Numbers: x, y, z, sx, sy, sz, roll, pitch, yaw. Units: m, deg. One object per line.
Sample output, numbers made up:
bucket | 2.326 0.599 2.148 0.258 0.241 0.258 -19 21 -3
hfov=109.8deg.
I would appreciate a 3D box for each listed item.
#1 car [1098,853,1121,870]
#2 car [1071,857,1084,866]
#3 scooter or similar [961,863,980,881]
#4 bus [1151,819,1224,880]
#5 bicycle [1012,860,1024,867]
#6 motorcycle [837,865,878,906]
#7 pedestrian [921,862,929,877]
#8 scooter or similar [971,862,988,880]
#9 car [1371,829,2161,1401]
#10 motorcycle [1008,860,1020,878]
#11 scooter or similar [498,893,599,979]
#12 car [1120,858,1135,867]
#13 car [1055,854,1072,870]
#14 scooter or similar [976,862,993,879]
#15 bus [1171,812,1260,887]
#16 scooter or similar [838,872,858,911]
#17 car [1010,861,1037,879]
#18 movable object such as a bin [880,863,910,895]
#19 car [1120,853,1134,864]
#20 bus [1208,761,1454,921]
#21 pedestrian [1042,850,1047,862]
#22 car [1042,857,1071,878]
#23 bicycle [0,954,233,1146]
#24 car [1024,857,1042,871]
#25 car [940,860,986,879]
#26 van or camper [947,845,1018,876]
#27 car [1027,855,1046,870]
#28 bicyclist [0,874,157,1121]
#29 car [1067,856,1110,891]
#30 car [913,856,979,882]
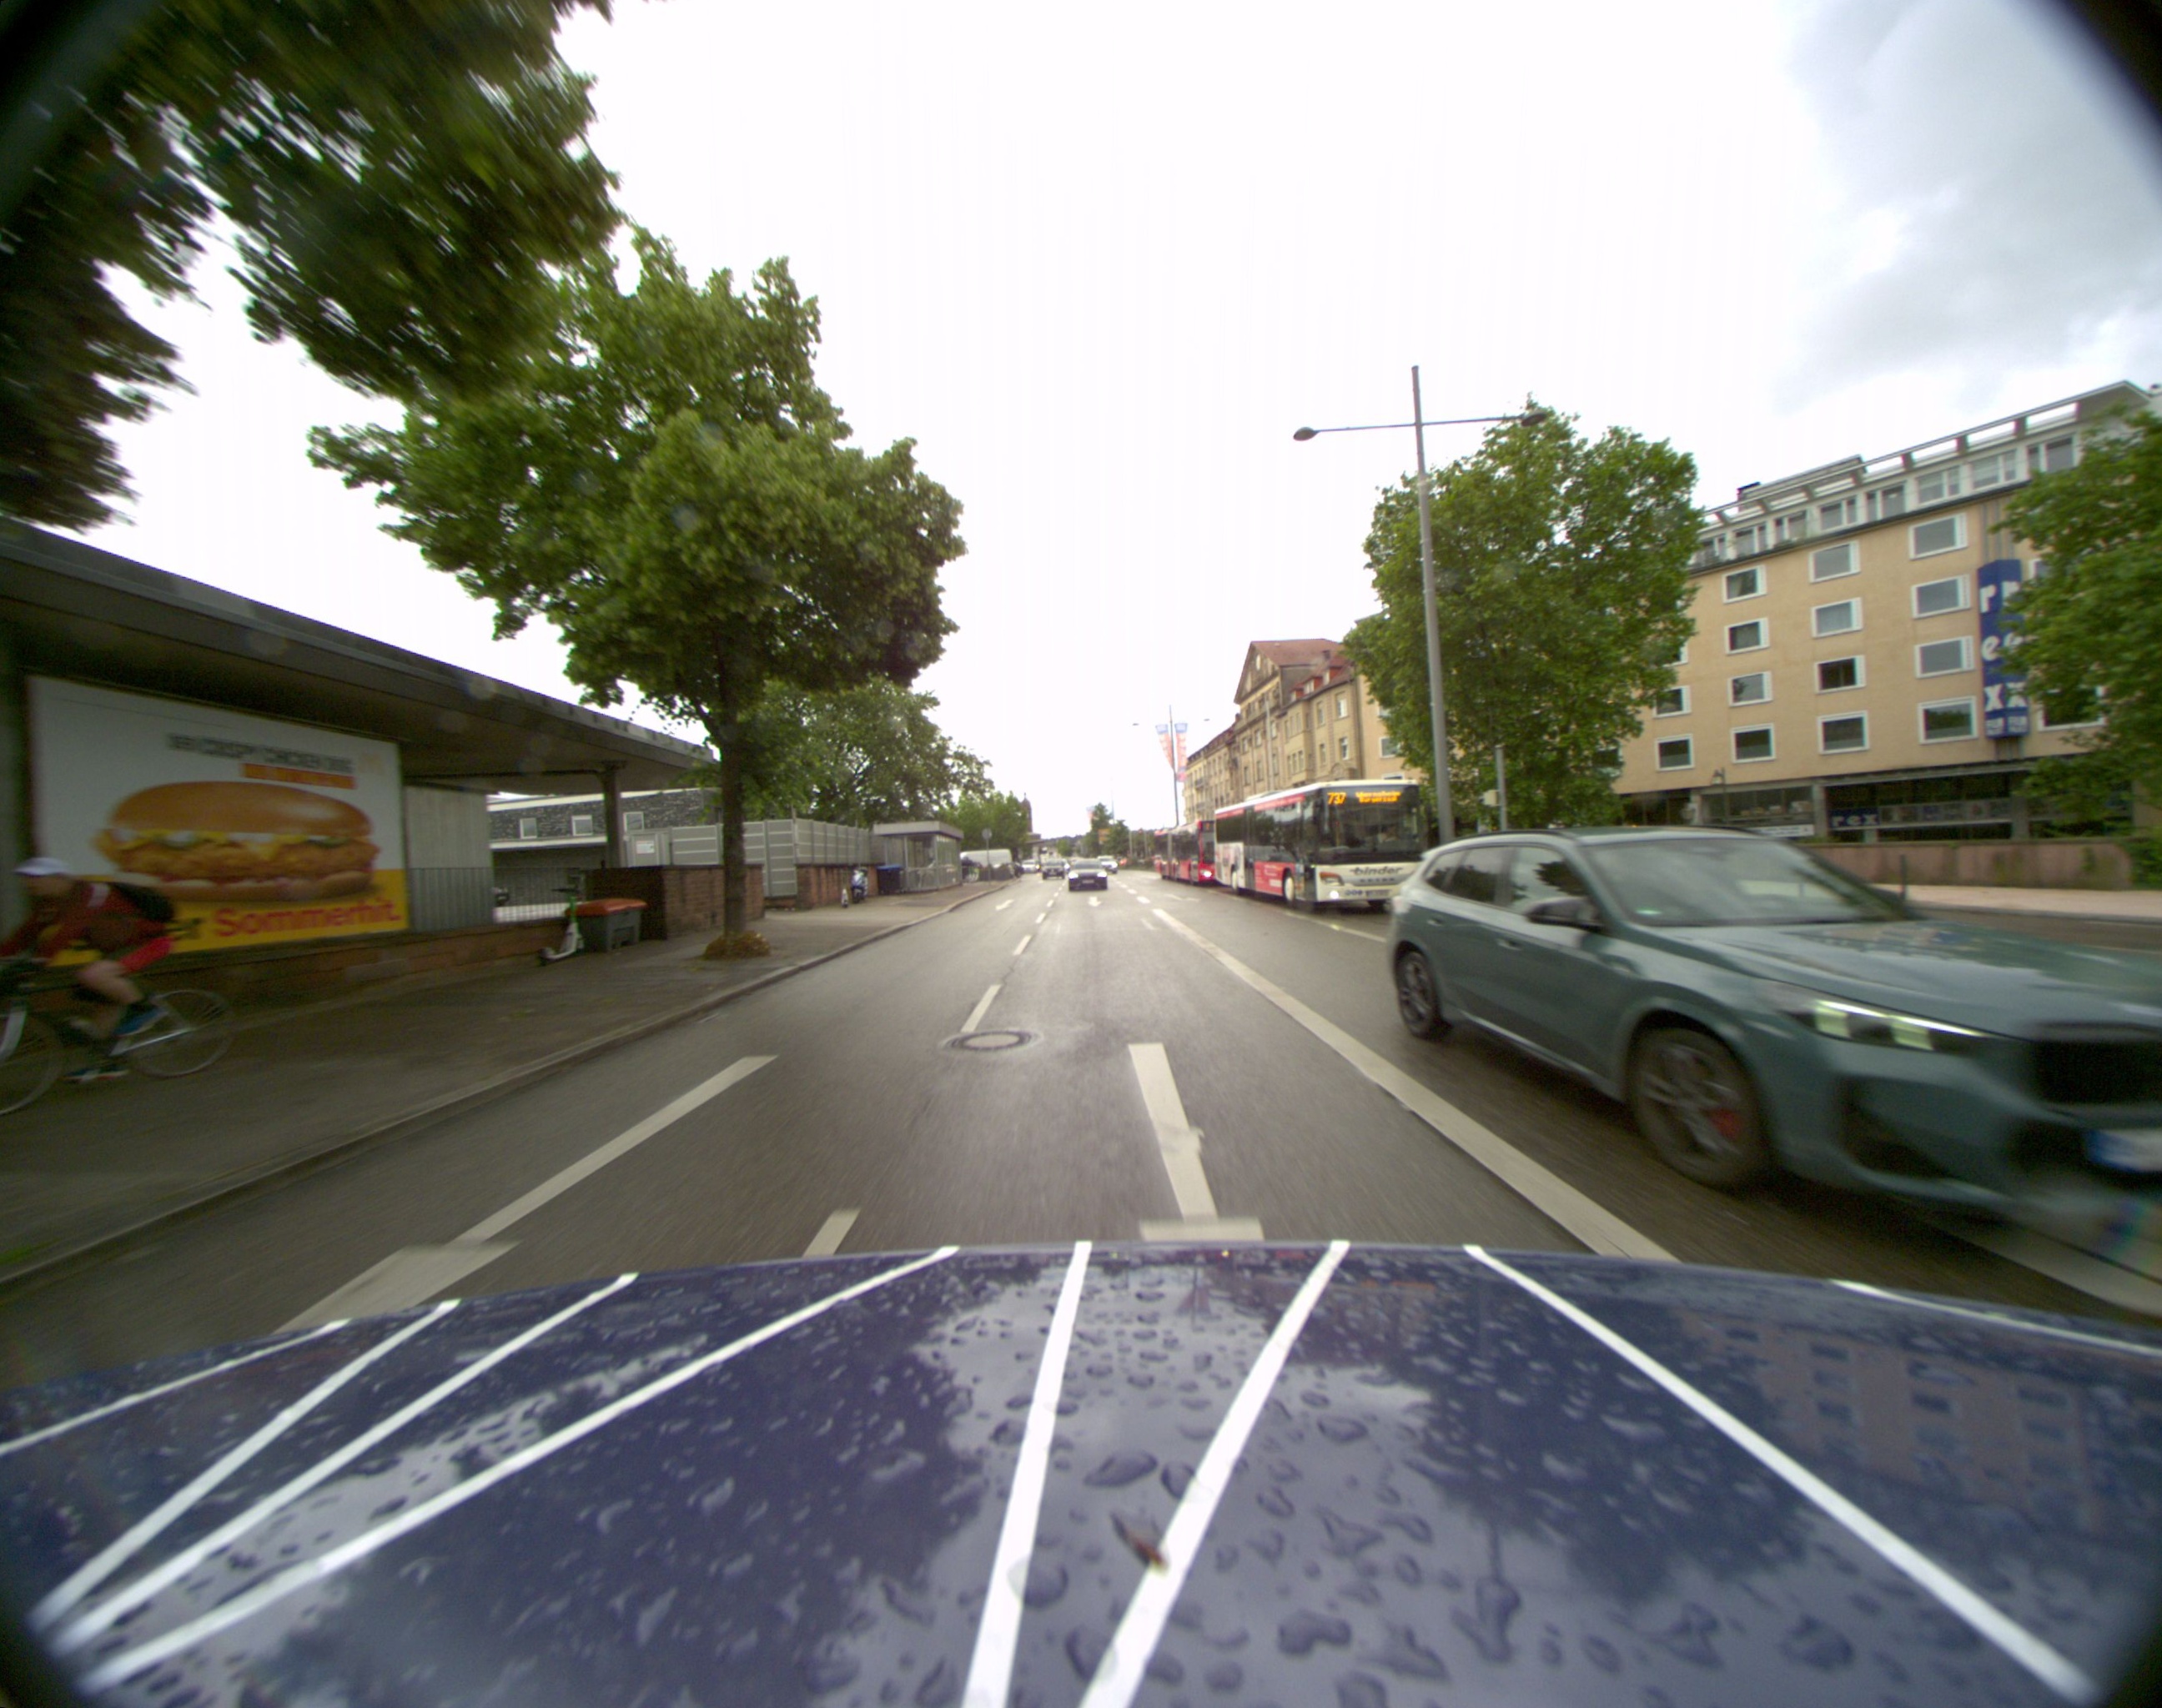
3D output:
car | 2.539 0.700 69.438 1.983 1.438 3.908 -1 0 1
car | -0.641 1.174 126.137 1.984 1.438 3.907 -2 0 -1
scooter or similar | -7.958 1.280 54.711 1.067 1.148 1.667 -3 1 0
bus | 6.222 -0.263 46.134 2.817 3.227 9.911 -2 0 -1
bicycle | -9.508 1.477 114.524 1.721 1.040 0.524 -1 1 -11
motorcycle | -7.900 1.084 26.981 0.794 1.340 2.456 -2 0 -2
pedestrian | -17.203 1.739 83.780 0.758 1.632 0.833 -2 0 -2
scooter or similar | -7.362 1.229 55.264 0.413 1.148 1.265 -4 0 31
car | 3.577 0.739 4.419 1.969 1.630 4.357 -2 0 -2
motorcycle | -5.067 1.118 57.879 0.645 1.344 2.109 -2 0 1
scooter or similar | -8.300 1.240 11.921 0.494 1.146 1.545 -2 1 -3
car | 7.729 1.395 126.333 1.795 1.398 4.983 -2 0 -3
car | -1.746 0.767 76.171 1.620 1.477 3.669 -2 0 -2
scooter or similar | -6.980 1.196 55.036 0.413 1.148 1.265 -4 1 31
bus | 6.272 -0.209 36.861 2.759 3.114 8.842 -1 0 0
scooter or similar | -7.622 1.202 24.795 0.495 1.146 1.712 -3 1 -20
car | -4.964 1.362 66.016 1.871 1.466 3.826 -2 0 2
movable object such as a bin | -8.289 1.114 33.908 1.036 1.330 1.317 -2 0 -2
car | 8.447 0.879 140.242 1.926 1.962 4.853 -2 0 -4
bus | 6.589 -0.296 23.080 2.963 3.419 12.557 -2 0 -1
pedestrian | -5.351 0.279 110.615 0.560 1.741 0.700 -1 0 4
car | -1.821 0.967 57.575 1.871 1.466 3.826 -2 0 2
bicycle | -6.958 1.305 5.209 0.447 1.010 1.677 0 0 -2
car | -5.483 1.100 86.568 1.661 1.466 3.589 -2 0 1
car | -10.432 1.350 67.302 3.595 1.515 1.759 -2 0 -26
van or camper | -9.692 0.599 75.004 6.540 2.853 2.275 -2 0 -30
car | -5.358 0.999 92.219 1.824 1.672 4.417 -2 0 2
bicyclist | -6.917 0.912 5.101 0.535 1.529 0.694 -1 1 -3
car | 0.405 0.865 35.615 1.871 1.466 3.826 -2 0 2
car | -10.935 1.177 61.650 4.707 1.863 2.104 -2 0 -32
